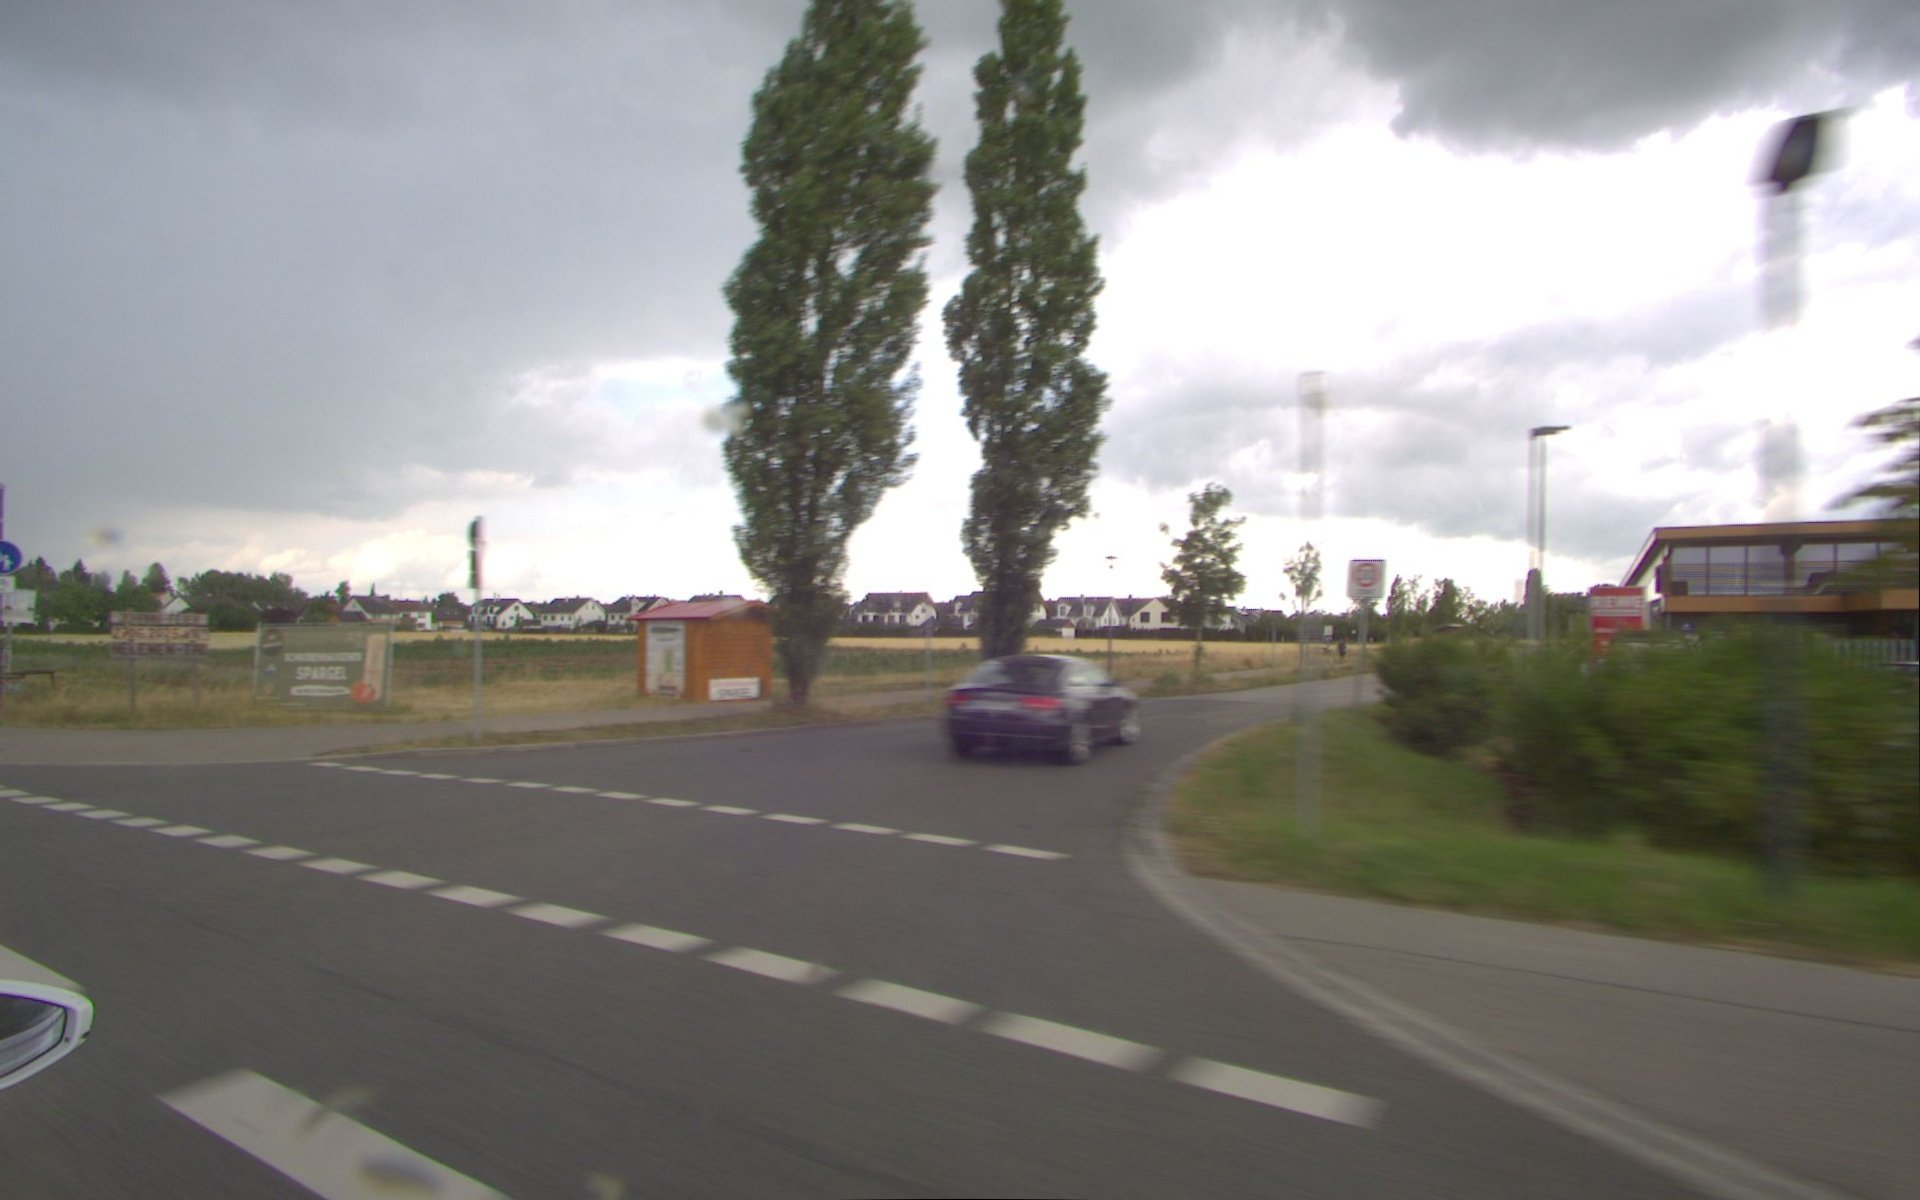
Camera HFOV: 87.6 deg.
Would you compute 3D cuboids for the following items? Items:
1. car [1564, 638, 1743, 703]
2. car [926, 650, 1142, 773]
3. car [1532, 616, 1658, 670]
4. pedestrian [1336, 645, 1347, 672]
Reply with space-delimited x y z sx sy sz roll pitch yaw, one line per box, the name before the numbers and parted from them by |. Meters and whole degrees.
car | 24.785 2.456 36.035 5.160 2.040 1.989 0 0 34
car | 1.245 1.464 14.407 1.801 1.406 4.377 0 -2 23
car | 25.605 1.693 40.493 4.226 2.040 1.989 0 0 33
pedestrian | 26.223 4.027 68.811 0.591 1.785 0.481 0 1 32
